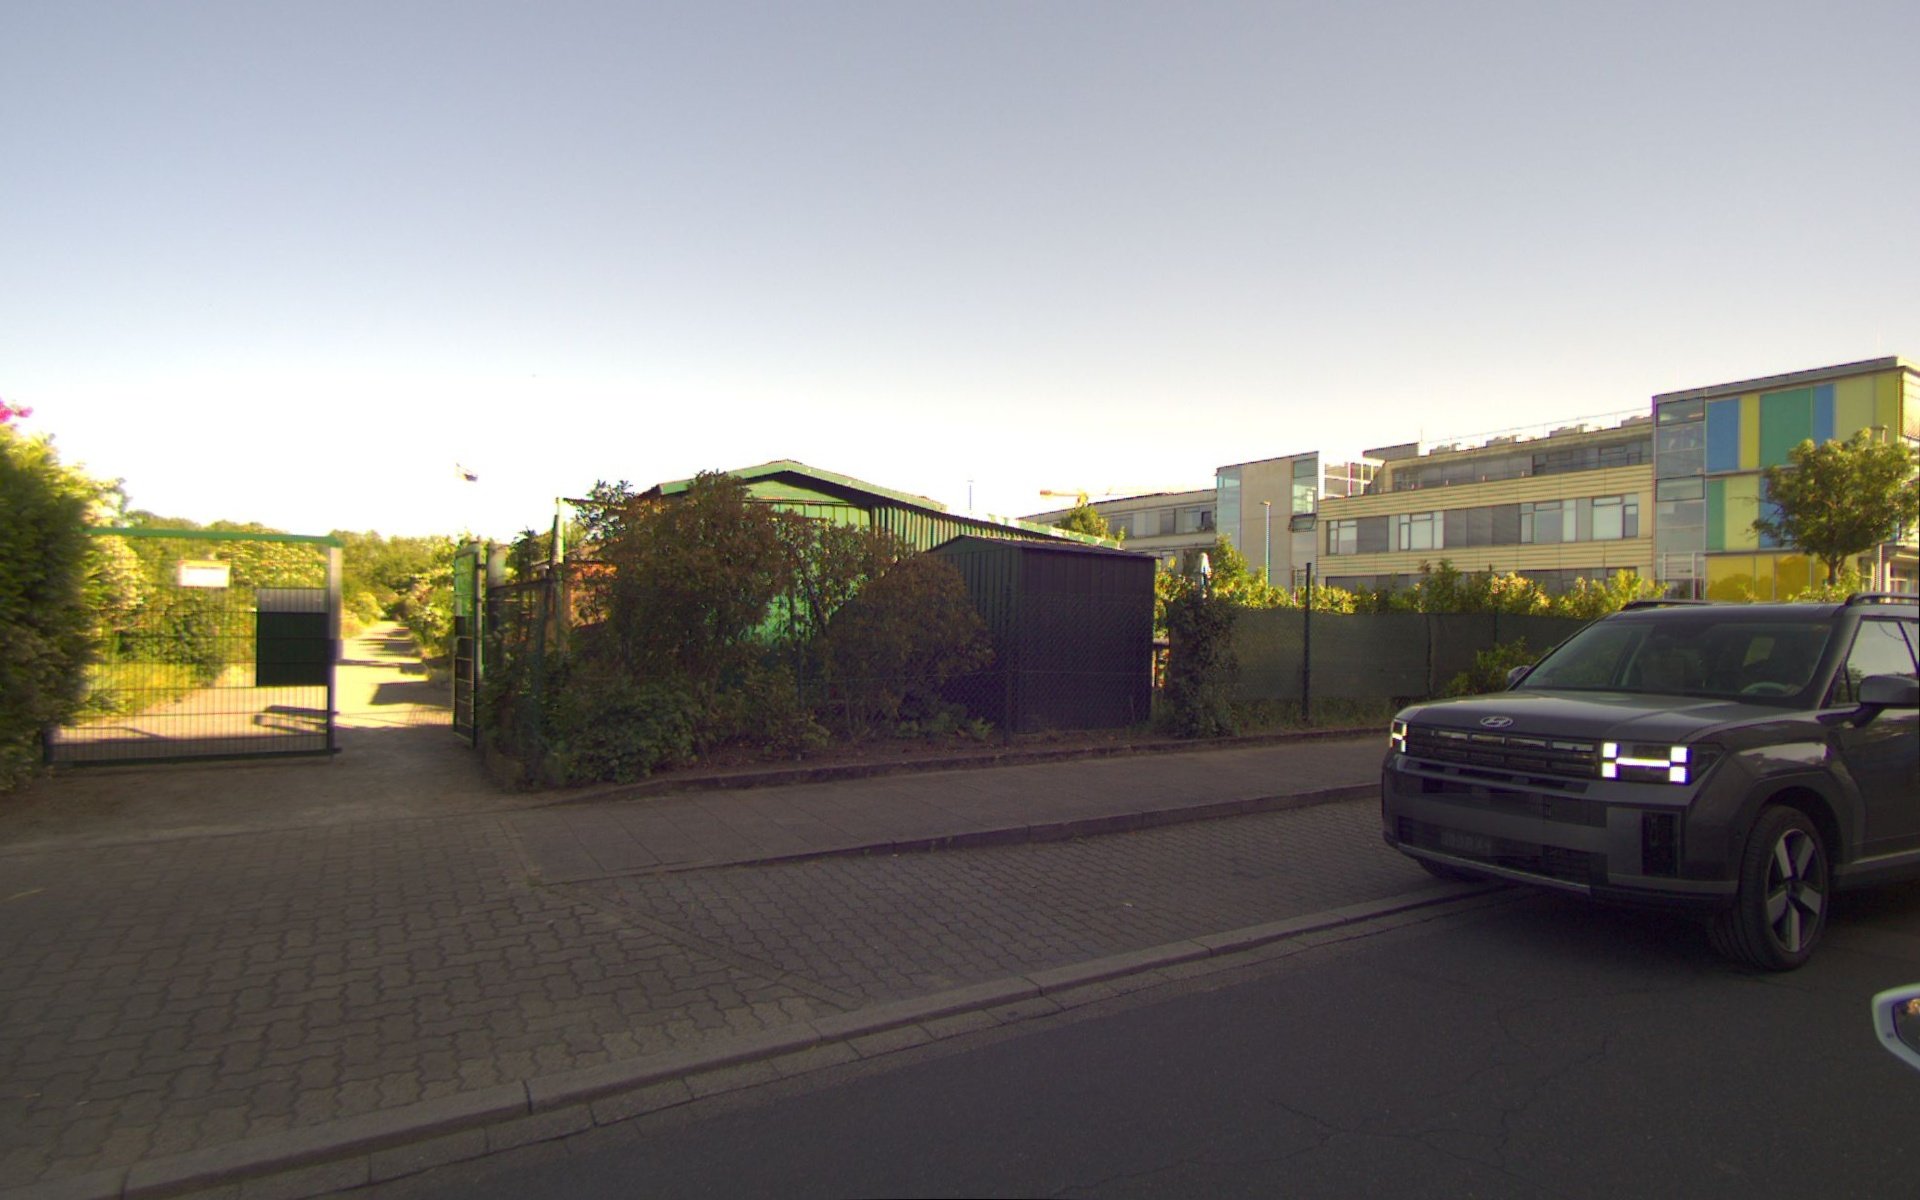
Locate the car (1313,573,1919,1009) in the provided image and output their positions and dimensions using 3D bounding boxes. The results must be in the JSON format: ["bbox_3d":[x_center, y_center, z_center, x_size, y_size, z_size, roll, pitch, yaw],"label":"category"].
[{"bbox_3d":[4.593,0.822,5.954,4.773,1.750,1.937,1,-1,-25],"label":"car"}]

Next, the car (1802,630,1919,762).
[{"bbox_3d":[12.851,1.157,12.926,4.490,1.465,1.737,1,1,-32],"label":"car"}]
